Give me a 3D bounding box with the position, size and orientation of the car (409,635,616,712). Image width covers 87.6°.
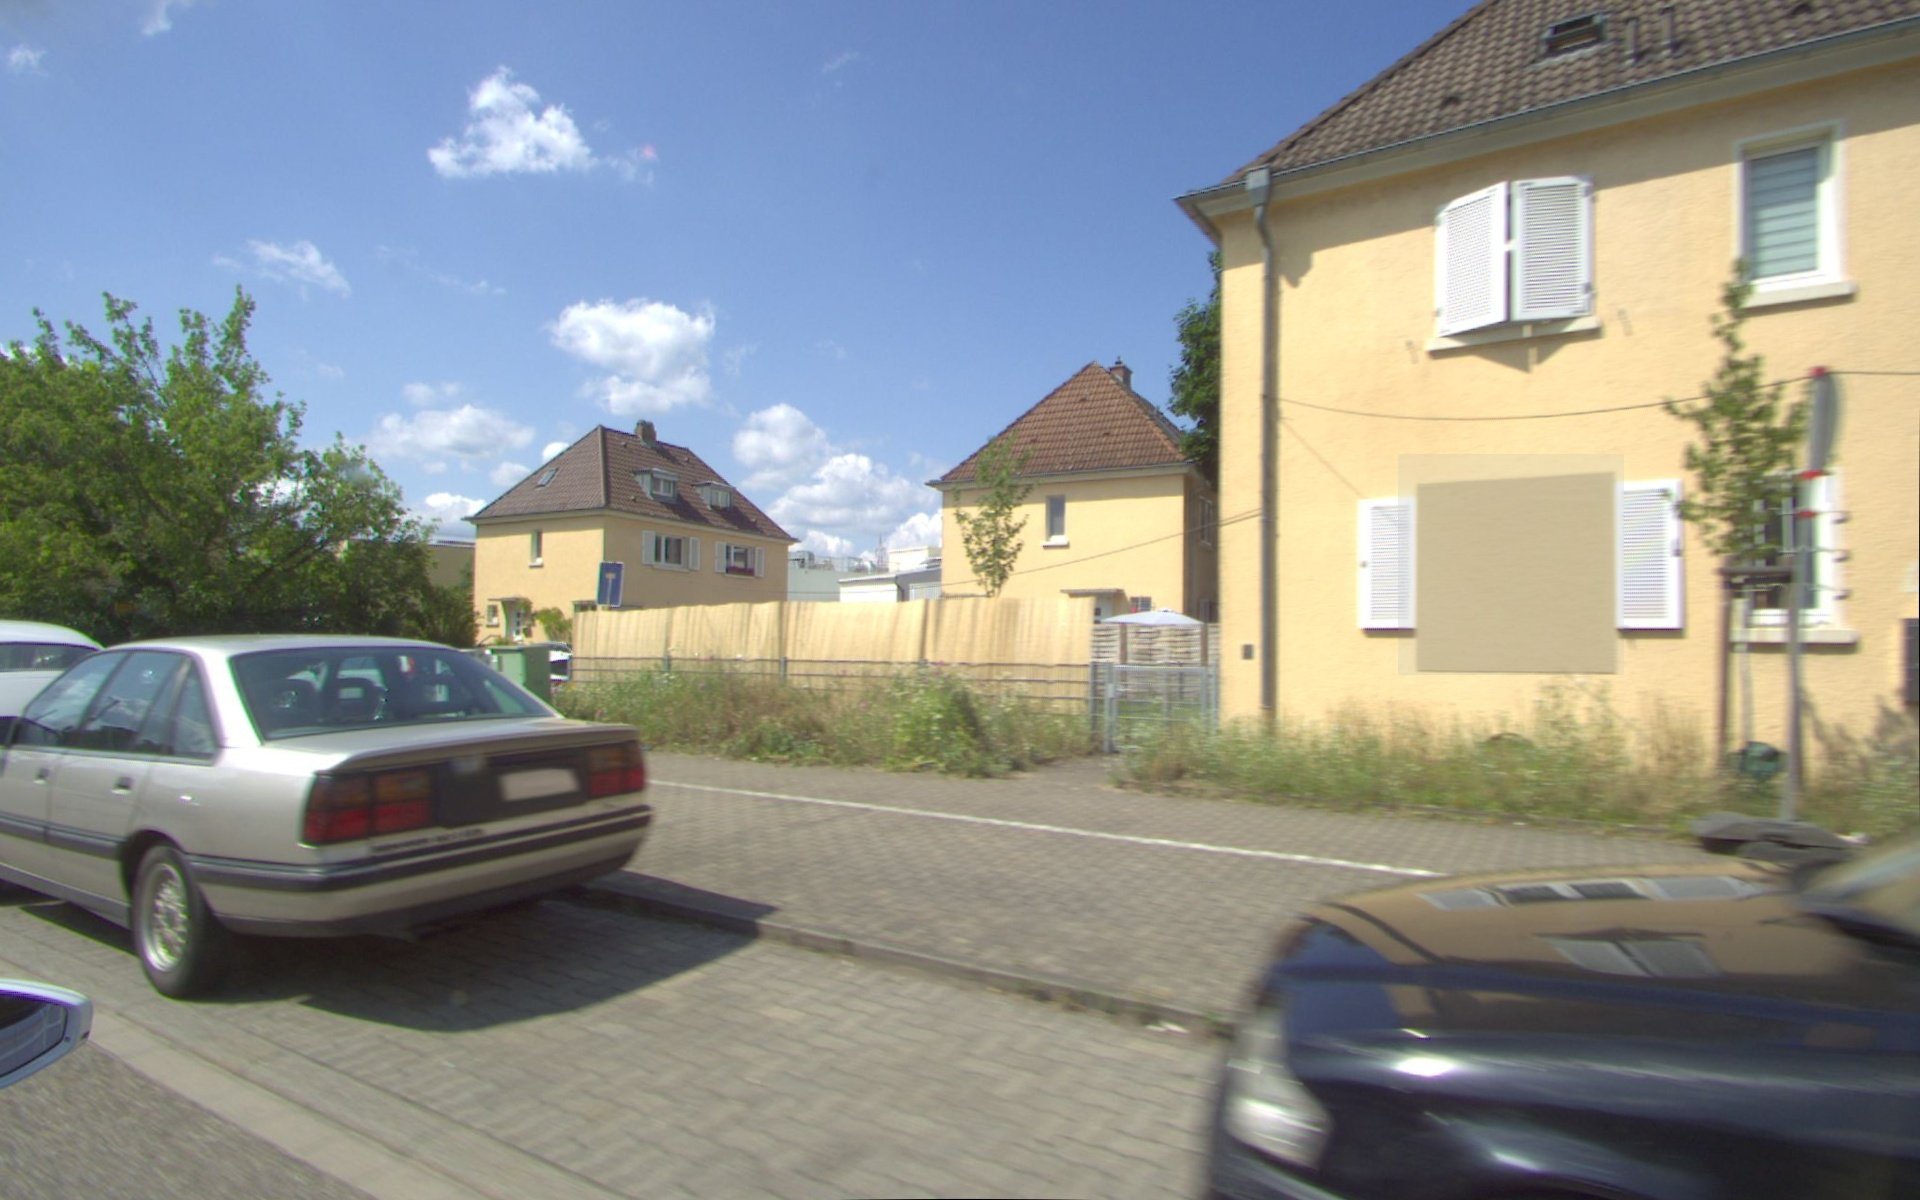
[{"bbox_3d":[-9.111,1.442,20.359,4.022,1.391,1.637,0,-2,27],"label":"car"}]

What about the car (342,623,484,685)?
[{"bbox_3d":[-15.364,1.462,28.100,4.026,1.568,1.634,0,1,30],"label":"car"}]

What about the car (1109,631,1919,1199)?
[{"bbox_3d":[2.553,0.811,1.400,4.388,1.467,1.576,-1,-3,31],"label":"car"}]

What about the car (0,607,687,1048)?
[{"bbox_3d":[-3.798,0.820,5.318,4.764,1.467,1.705,-1,-3,31],"label":"car"}]

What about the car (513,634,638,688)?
[{"bbox_3d":[-12.588,2.019,32.719,4.027,1.685,1.635,-3,-4,30],"label":"car"}]

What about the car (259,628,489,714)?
[{"bbox_3d":[-10.613,1.230,18.111,4.022,1.391,1.637,0,-2,27],"label":"car"}]

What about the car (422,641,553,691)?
[{"bbox_3d":[-14.563,2.004,30.827,4.026,1.418,1.635,-1,-3,30],"label":"car"}]

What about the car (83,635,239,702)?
[{"bbox_3d":[-18.156,1.505,22.698,4.032,1.372,1.633,-1,-3,34],"label":"car"}]

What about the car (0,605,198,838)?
[{"bbox_3d":[-8.047,0.833,7.999,4.394,1.532,1.576,-1,-3,31],"label":"car"}]
